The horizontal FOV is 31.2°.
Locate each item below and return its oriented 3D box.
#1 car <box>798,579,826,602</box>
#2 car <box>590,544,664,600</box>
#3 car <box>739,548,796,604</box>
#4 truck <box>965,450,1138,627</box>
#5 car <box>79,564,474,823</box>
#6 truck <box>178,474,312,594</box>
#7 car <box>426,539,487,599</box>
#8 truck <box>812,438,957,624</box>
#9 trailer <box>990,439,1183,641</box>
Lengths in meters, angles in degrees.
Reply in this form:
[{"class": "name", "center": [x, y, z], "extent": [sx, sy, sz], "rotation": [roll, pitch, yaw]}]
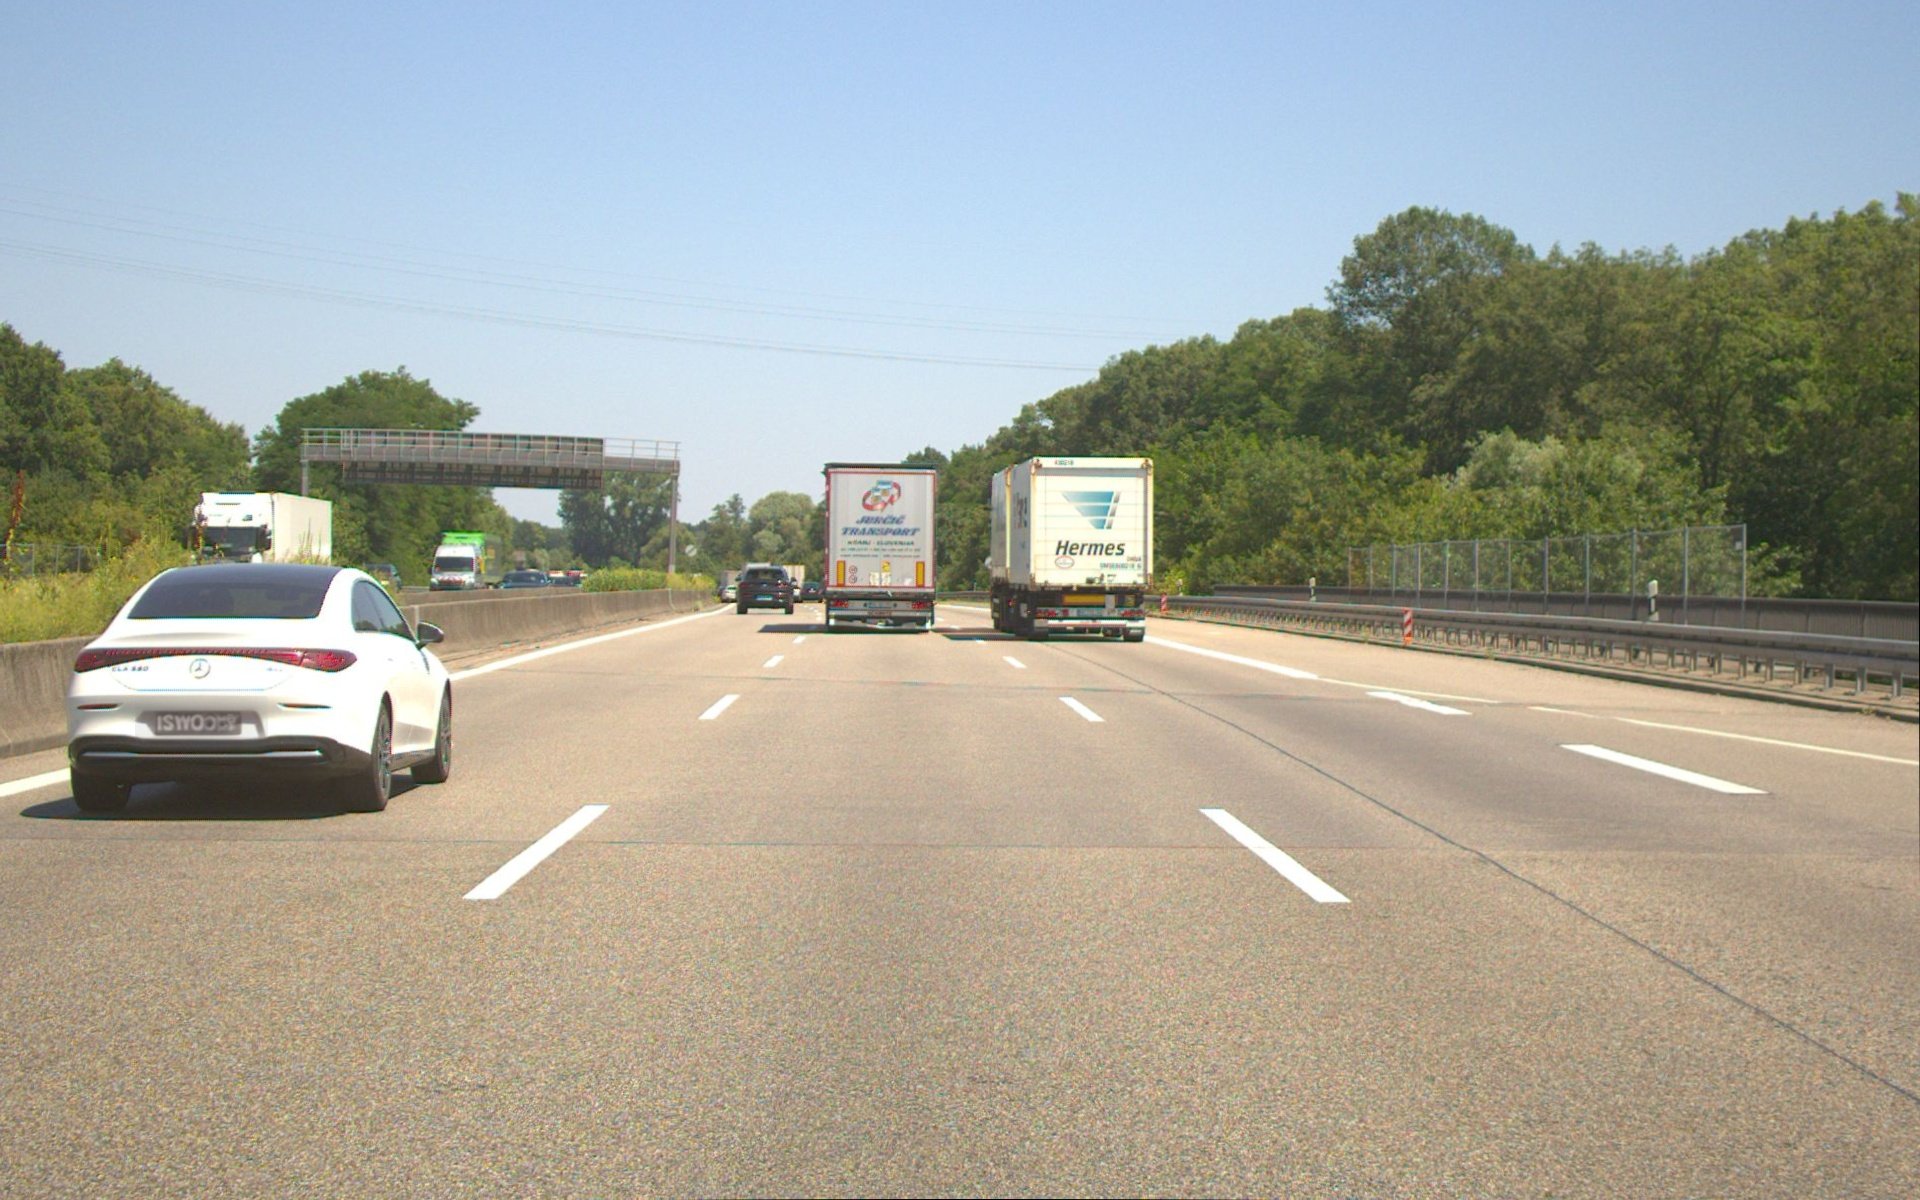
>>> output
[{"class": "car", "center": [-10.945, -0.690, 253.887], "extent": [1.993, 1.590, 4.001], "rotation": [0, 1, -4]}, {"class": "car", "center": [-12.145, -1.036, 125.679], "extent": [2.292, 2.007, 4.711], "rotation": [0, 1, 0]}, {"class": "car", "center": [-6.904, -0.881, 123.310], "extent": [1.993, 1.867, 4.001], "rotation": [1, 2, -3]}, {"class": "truck", "center": [2.125, -1.576, 84.973], "extent": [3.325, 4.039, 10.956], "rotation": [1, 2, -3]}, {"class": "car", "center": [-4.310, 0.512, 22.424], "extent": [1.766, 1.443, 5.109], "rotation": [-1, 1, -3]}, {"class": "truck", "center": [-24.607, -2.264, 118.702], "extent": [3.048, 3.963, 8.288], "rotation": [1, 1, -2]}, {"class": "car", "center": [-22.107, -1.371, 151.242], "extent": [1.993, 2.559, 6.129], "rotation": [1, 0, -2]}, {"class": "truck", "center": [-1.895, -1.671, 82.246], "extent": [3.229, 4.187, 8.467], "rotation": [1, 1, -2]}, {"class": "trailer", "center": [2.648, -1.363, 75.363], "extent": [3.367, 4.128, 9.093], "rotation": [1, 2, -3]}]
